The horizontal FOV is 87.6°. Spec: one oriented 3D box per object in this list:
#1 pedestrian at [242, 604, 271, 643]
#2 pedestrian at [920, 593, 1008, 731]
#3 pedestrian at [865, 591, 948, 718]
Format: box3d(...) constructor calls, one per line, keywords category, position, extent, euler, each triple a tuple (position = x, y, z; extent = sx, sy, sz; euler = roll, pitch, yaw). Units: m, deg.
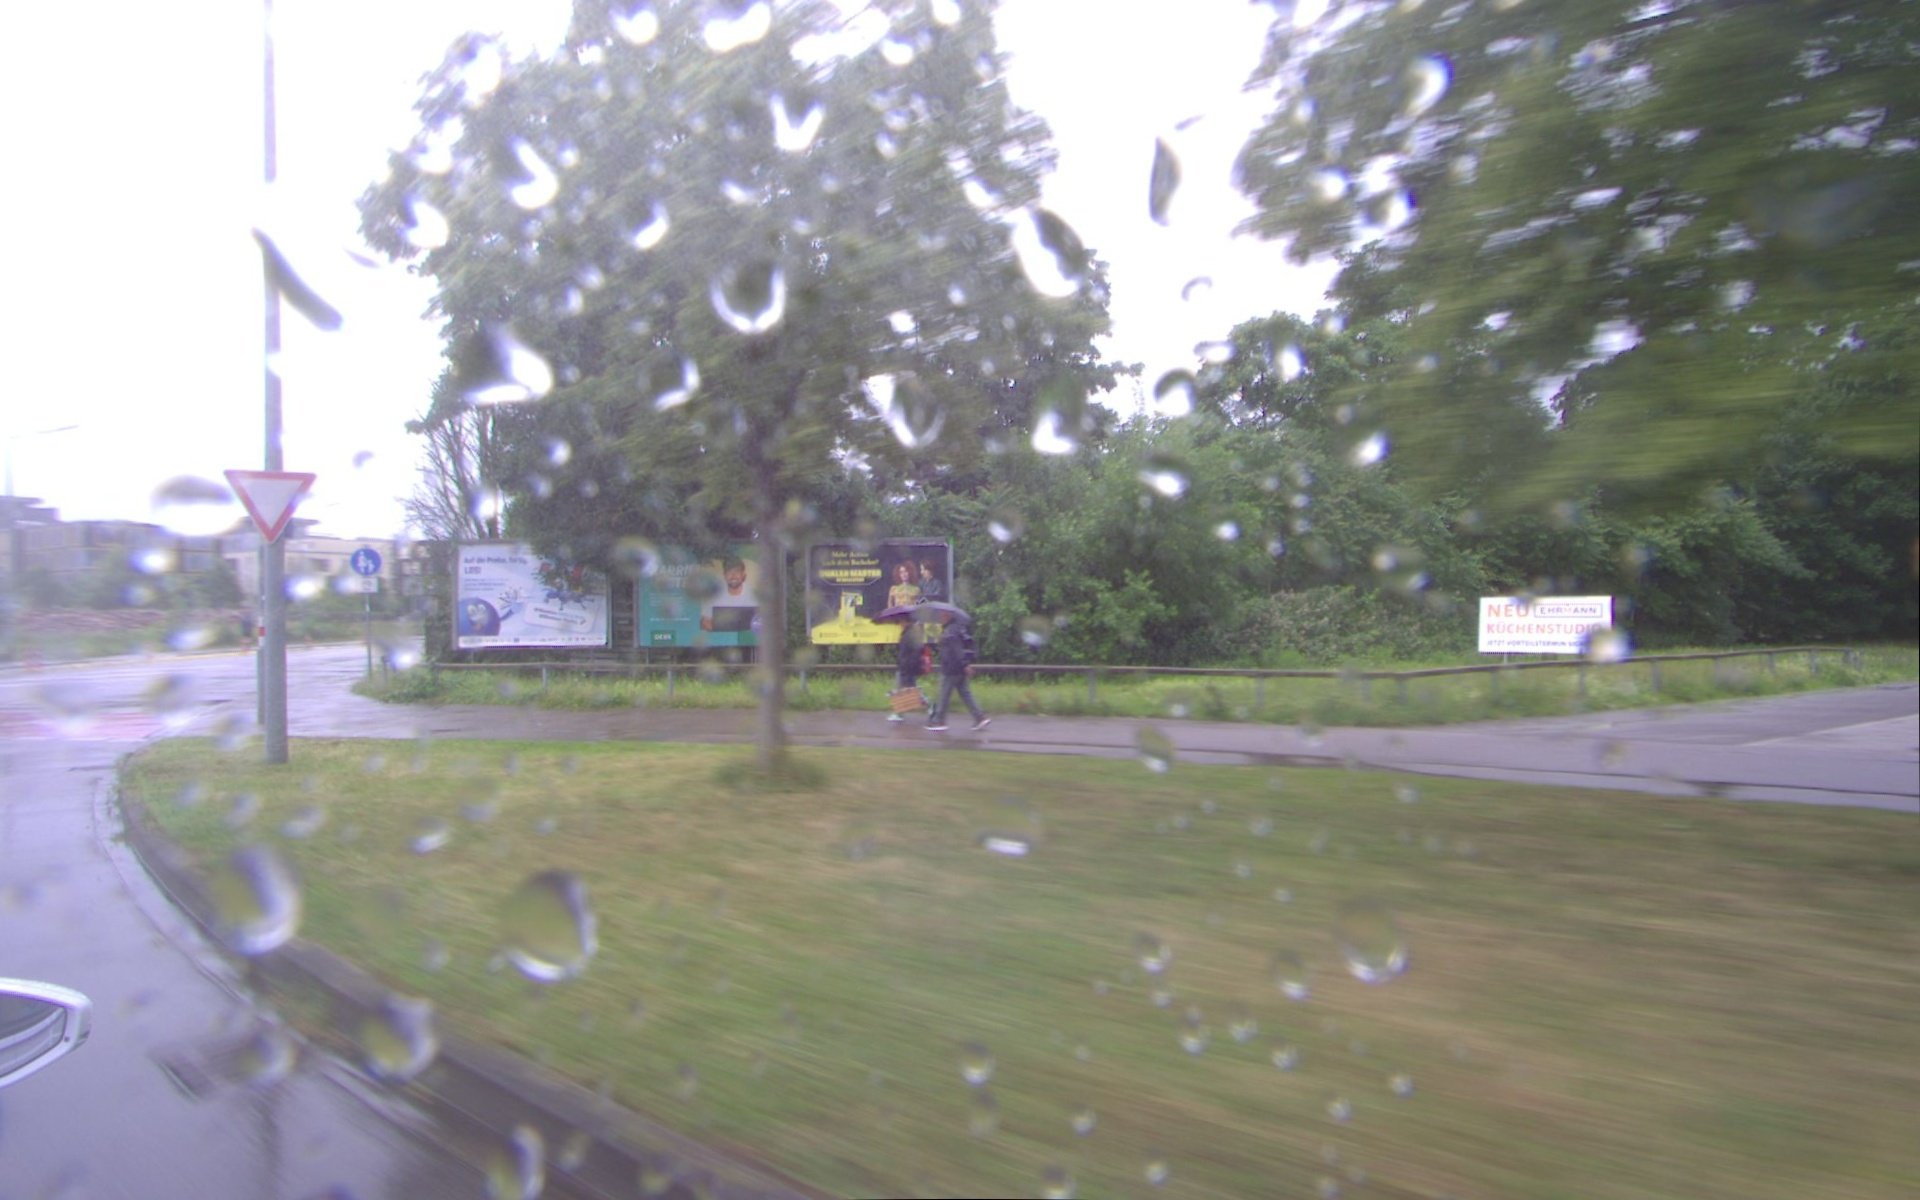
box3d(category="pedestrian", position=(-37.330, 1.238, 53.167), extent=(0.833, 2.039, 1.132), euler=(0, -2, -10))
box3d(category="pedestrian", position=(0.056, 0.847, 13.779), extent=(0.800, 1.806, 0.916), euler=(-3, -3, 44))
box3d(category="pedestrian", position=(-0.792, 0.801, 14.795), extent=(0.800, 1.806, 0.916), euler=(-3, -3, 44))
